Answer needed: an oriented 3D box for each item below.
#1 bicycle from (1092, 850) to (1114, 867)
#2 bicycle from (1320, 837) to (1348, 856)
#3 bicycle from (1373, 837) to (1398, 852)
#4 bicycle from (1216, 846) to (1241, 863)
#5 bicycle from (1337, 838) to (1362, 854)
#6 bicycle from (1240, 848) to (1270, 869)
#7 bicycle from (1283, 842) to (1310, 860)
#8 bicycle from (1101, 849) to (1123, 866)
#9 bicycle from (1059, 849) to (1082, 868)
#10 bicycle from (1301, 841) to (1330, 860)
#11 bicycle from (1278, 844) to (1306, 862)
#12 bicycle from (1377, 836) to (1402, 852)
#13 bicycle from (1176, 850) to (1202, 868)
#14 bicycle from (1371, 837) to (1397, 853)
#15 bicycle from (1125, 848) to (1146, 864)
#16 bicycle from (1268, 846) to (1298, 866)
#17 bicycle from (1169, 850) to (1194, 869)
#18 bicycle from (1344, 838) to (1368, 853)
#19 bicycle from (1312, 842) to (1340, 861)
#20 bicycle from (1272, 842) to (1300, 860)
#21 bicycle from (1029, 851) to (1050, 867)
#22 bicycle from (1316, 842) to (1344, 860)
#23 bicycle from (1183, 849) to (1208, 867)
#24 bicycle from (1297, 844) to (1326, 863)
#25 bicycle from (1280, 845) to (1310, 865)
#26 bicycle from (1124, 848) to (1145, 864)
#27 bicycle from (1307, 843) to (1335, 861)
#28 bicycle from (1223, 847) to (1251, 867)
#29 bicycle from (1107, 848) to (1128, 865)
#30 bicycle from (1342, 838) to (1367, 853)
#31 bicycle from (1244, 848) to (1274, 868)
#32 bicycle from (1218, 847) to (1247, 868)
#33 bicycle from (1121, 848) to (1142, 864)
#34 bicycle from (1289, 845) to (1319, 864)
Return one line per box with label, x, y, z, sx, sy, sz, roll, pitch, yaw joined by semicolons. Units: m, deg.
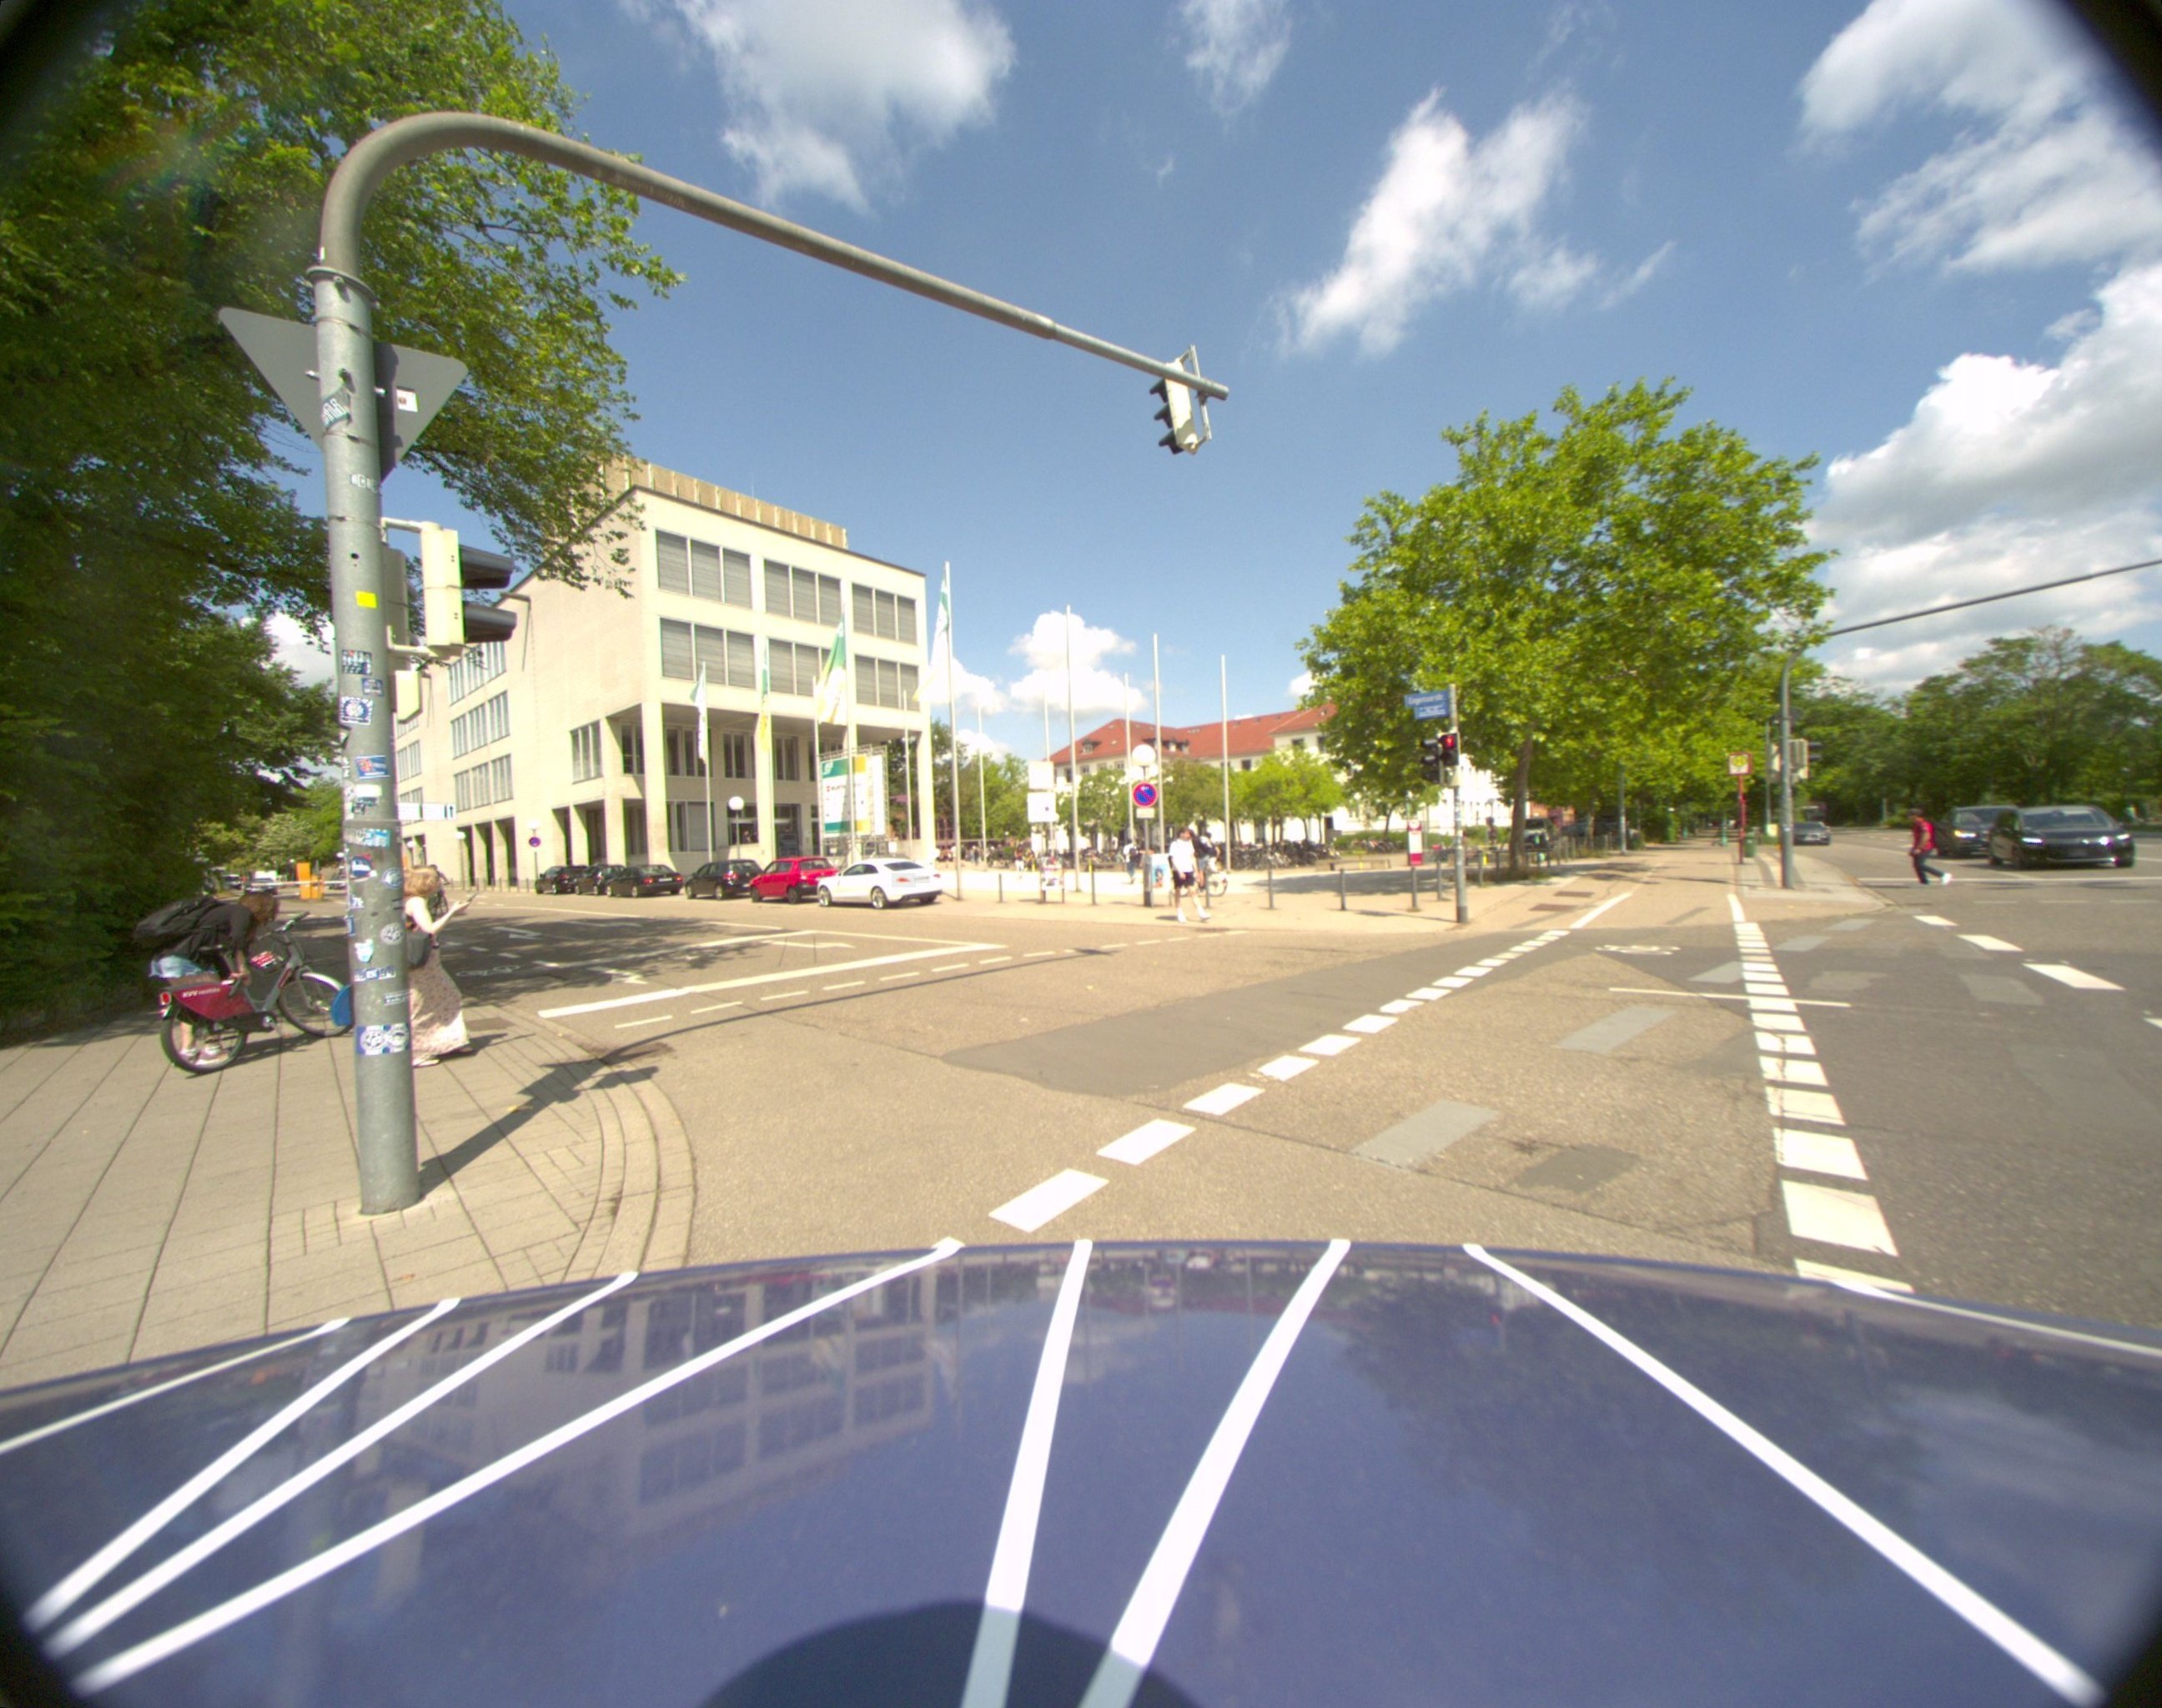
bicycle;1.246;0.267;43.512;0.353;0.945;1.368;-3;1;-43
bicycle;13.958;-0.411;41.961;1.368;0.945;0.353;-2;1;37
bicycle;19.324;-0.605;48.197;1.425;0.945;0.353;-2;1;37
bicycle;8.410;0.046;43.312;1.368;0.945;0.353;-2;1;35
bicycle;17.243;-0.512;48.863;1.425;0.945;0.353;-2;1;37
bicycle;8.244;0.226;36.037;1.368;0.945;0.353;-2;1;37
bicycle;12.027;-0.160;42.381;1.409;0.945;0.353;-2;1;37
bicycle;1.781;0.228;43.935;0.353;0.945;1.368;-3;1;-43
bicycle;-0.618;0.288;44.955;1.368;1.068;0.353;-2;1;31
bicycle;12.430;-0.201;40.259;1.368;0.945;0.353;-2;1;37
bicycle;11.634;-0.075;41.911;1.409;0.945;0.353;-2;1;37
bicycle;19.716;-0.634;48.628;1.425;0.945;0.353;-2;1;37
bicycle;5.705;0.266;40.159;0.353;0.945;1.368;-3;1;-43
bicycle;19.034;-0.581;47.772;1.425;0.945;0.353;-2;1;37
bicycle;3.373;0.120;47.365;0.353;0.945;1.368;-3;1;-43
bicycle;9.934;0.107;37.366;1.368;0.945;0.353;-2;1;37
bicycle;5.276;0.293;39.962;0.353;0.945;1.368;-3;1;-43
bicycle;17.979;-0.566;49.653;1.425;0.945;0.353;-2;1;37
bicycle;13.243;-0.142;41.095;1.368;0.945;0.353;-2;1;37
bicycle;11.021;-0.157;40.883;1.409;0.945;0.353;-2;1;37
bicycle;-2.607;0.314;47.646;1.368;0.945;0.353;-2;1;31
bicycle;13.586;-0.167;41.454;1.368;0.945;0.353;-2;1;37
bicycle;6.104;0.206;40.552;0.353;0.945;1.368;-3;1;-43
bicycle;12.046;-0.019;39.738;1.368;0.945;0.353;-2;1;37
bicycle;10.570;0.069;37.613;1.368;0.945;0.353;-2;1;37
bicycle;3.279;0.111;46.677;0.353;0.945;1.368;-3;1;-43
bicycle;12.864;-0.115;40.763;1.368;0.945;0.353;-2;1;37
bicycle;7.902;0.156;38.479;1.368;0.995;0.353;-2;1;37
bicycle;2.128;0.164;44.311;0.353;0.945;1.368;-3;1;-43
bicycle;17.740;-0.547;49.313;1.425;0.945;0.353;-2;1;37
bicycle;8.551;0.196;36.527;1.368;0.941;0.353;-2;1;37
bicycle;7.581;0.189;38.085;1.368;0.995;0.353;-2;1;37
bicycle;3.049;0.124;46.231;0.353;0.945;1.368;-3;1;-43
bicycle;11.161;0.030;38.030;1.368;0.945;0.353;-2;1;37
